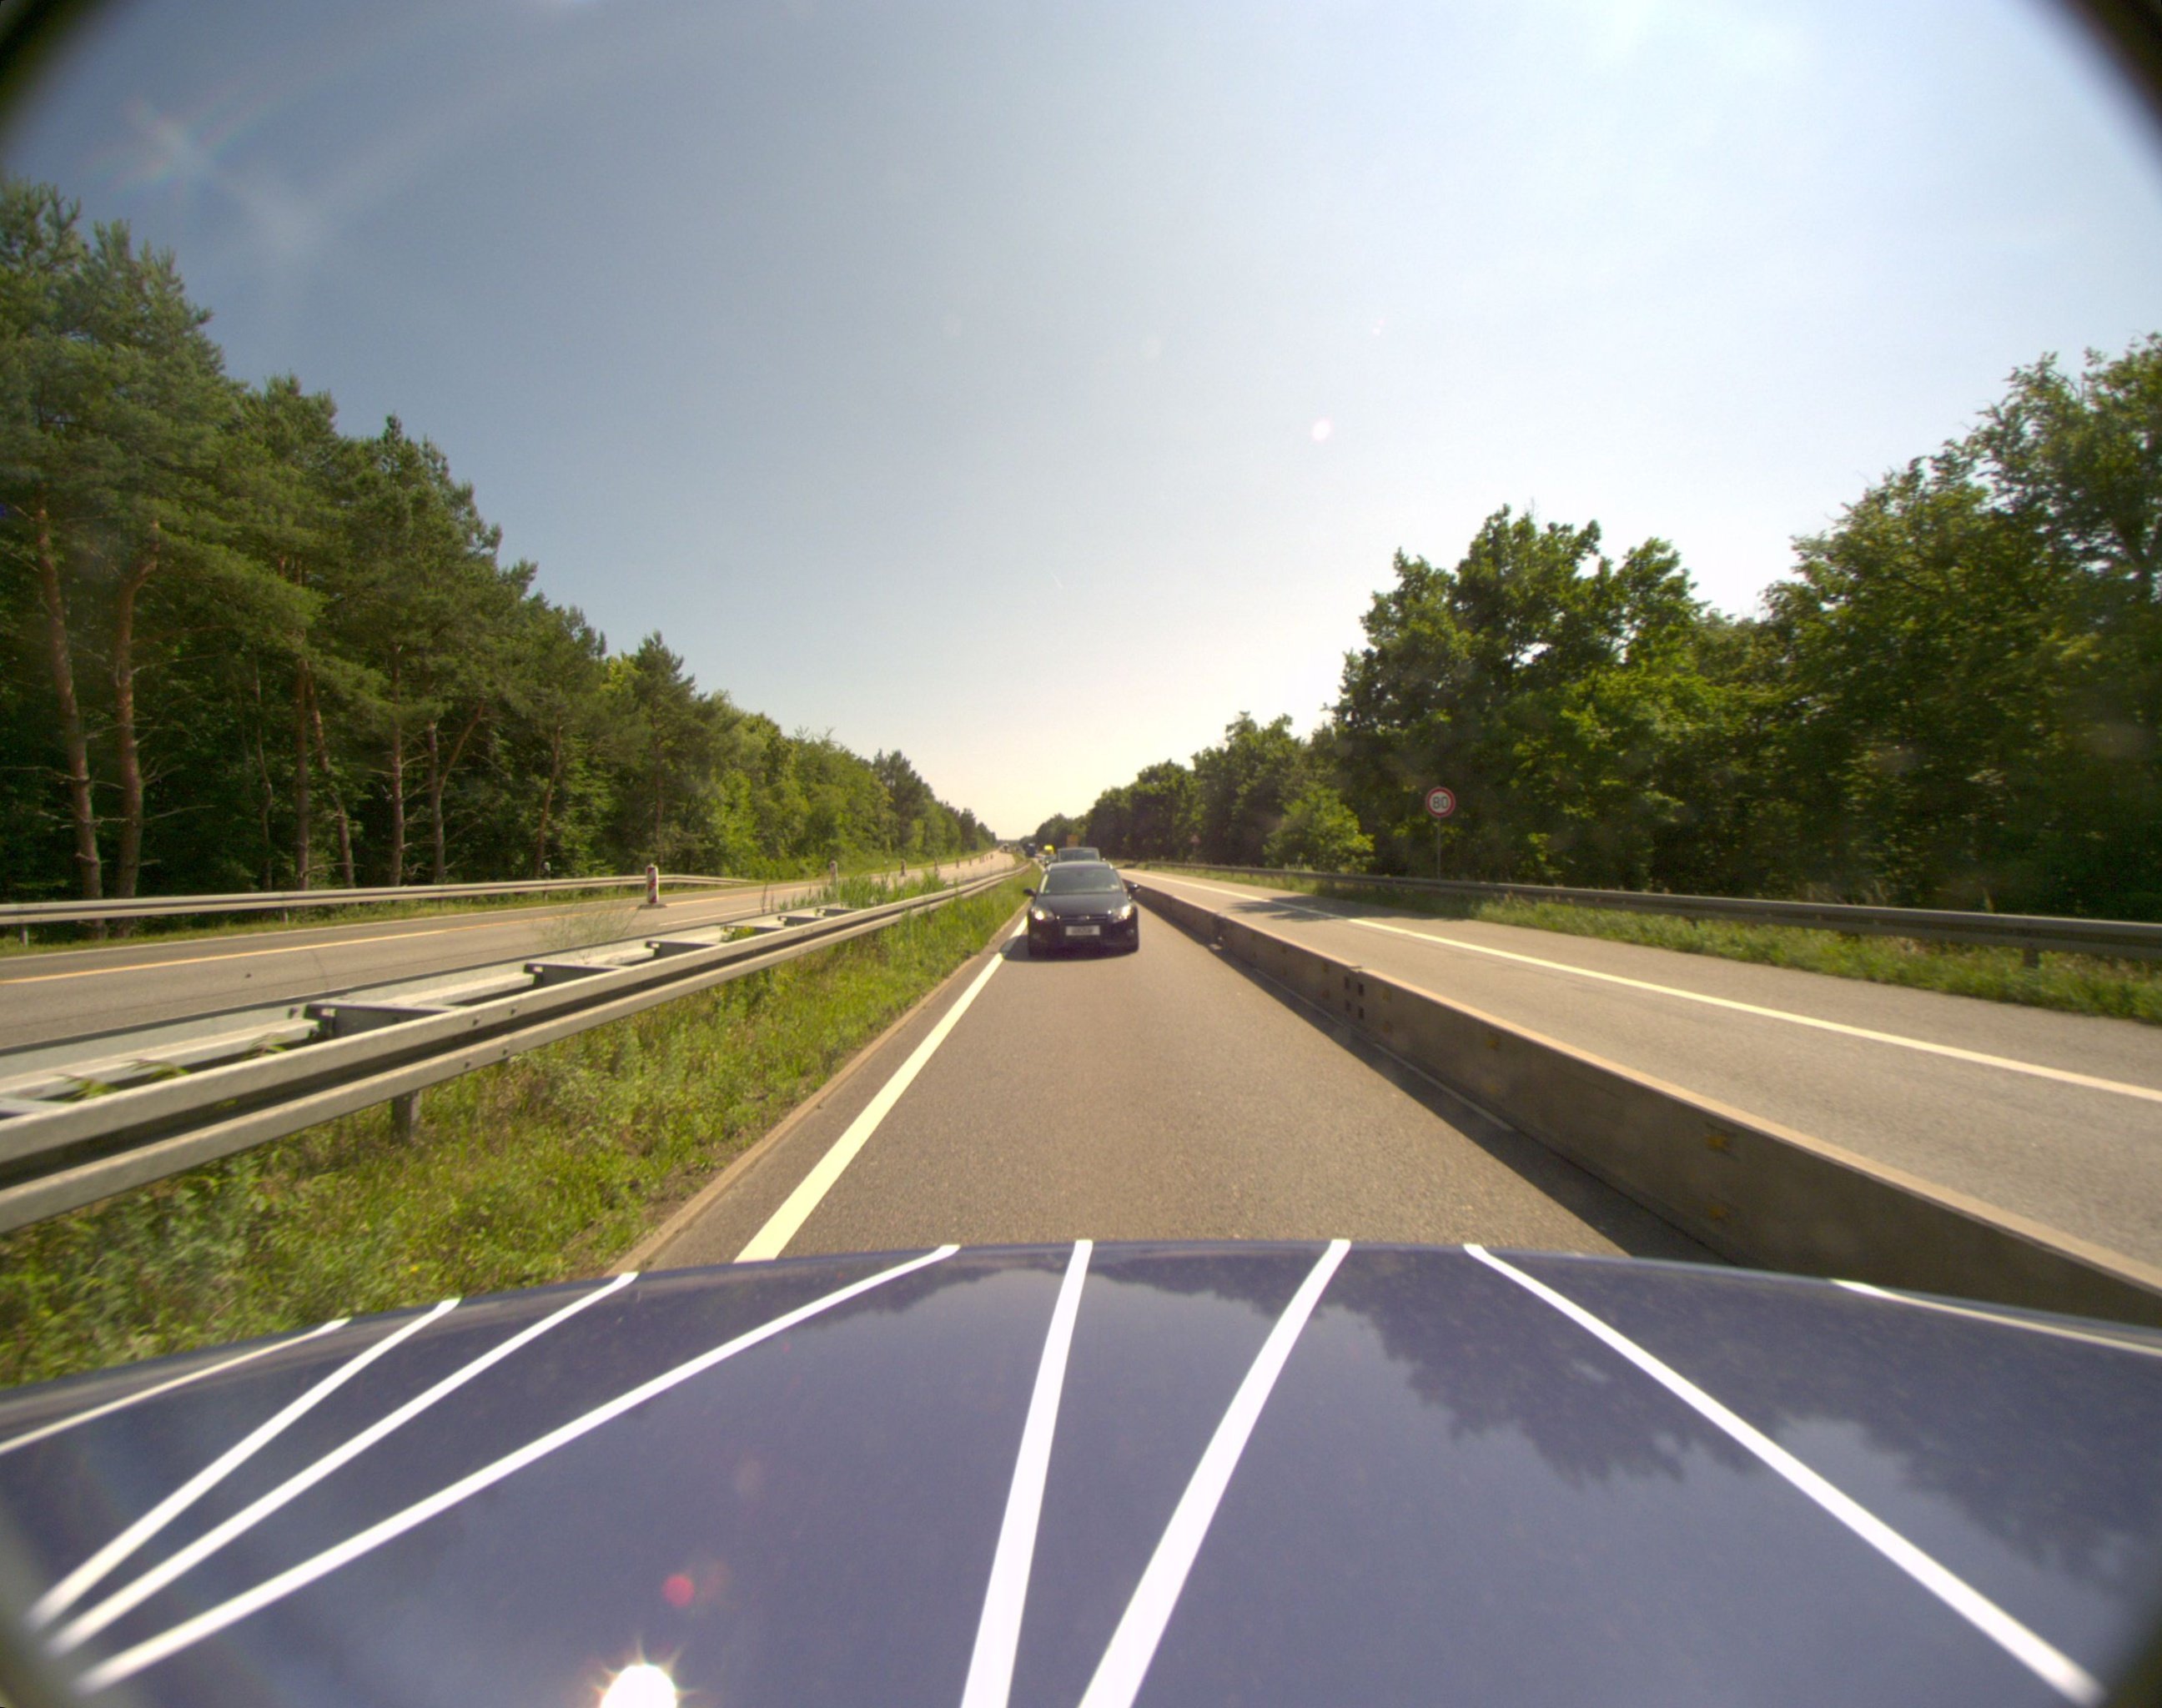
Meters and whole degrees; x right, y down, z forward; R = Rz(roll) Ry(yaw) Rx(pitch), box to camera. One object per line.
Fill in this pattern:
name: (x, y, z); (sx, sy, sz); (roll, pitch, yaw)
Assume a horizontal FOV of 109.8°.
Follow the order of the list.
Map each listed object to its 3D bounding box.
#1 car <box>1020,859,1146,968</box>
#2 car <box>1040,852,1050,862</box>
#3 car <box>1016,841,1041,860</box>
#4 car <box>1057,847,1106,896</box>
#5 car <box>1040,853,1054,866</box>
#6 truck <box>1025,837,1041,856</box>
car: (0.020, 0.914, 13.953); (1.847, 1.536, 4.935); (-2, 0, 0)
car: (-6.524, 0.558, 138.886); (1.527, 1.647, 3.754); (-1, 0, 0)
car: (-4.980, -0.334, 72.476); (1.998, 1.773, 4.000); (-1, 0, 0)
car: (0.011, 0.702, 33.515); (1.959, 1.901, 4.934); (-2, 1, 0)
car: (-4.379, 0.715, 98.839); (1.527, 1.647, 3.980); (-1, 0, 0)
truck: (-14.150, -2.175, 223.177); (3.832, 5.266, 11.239); (-1, 0, -8)
